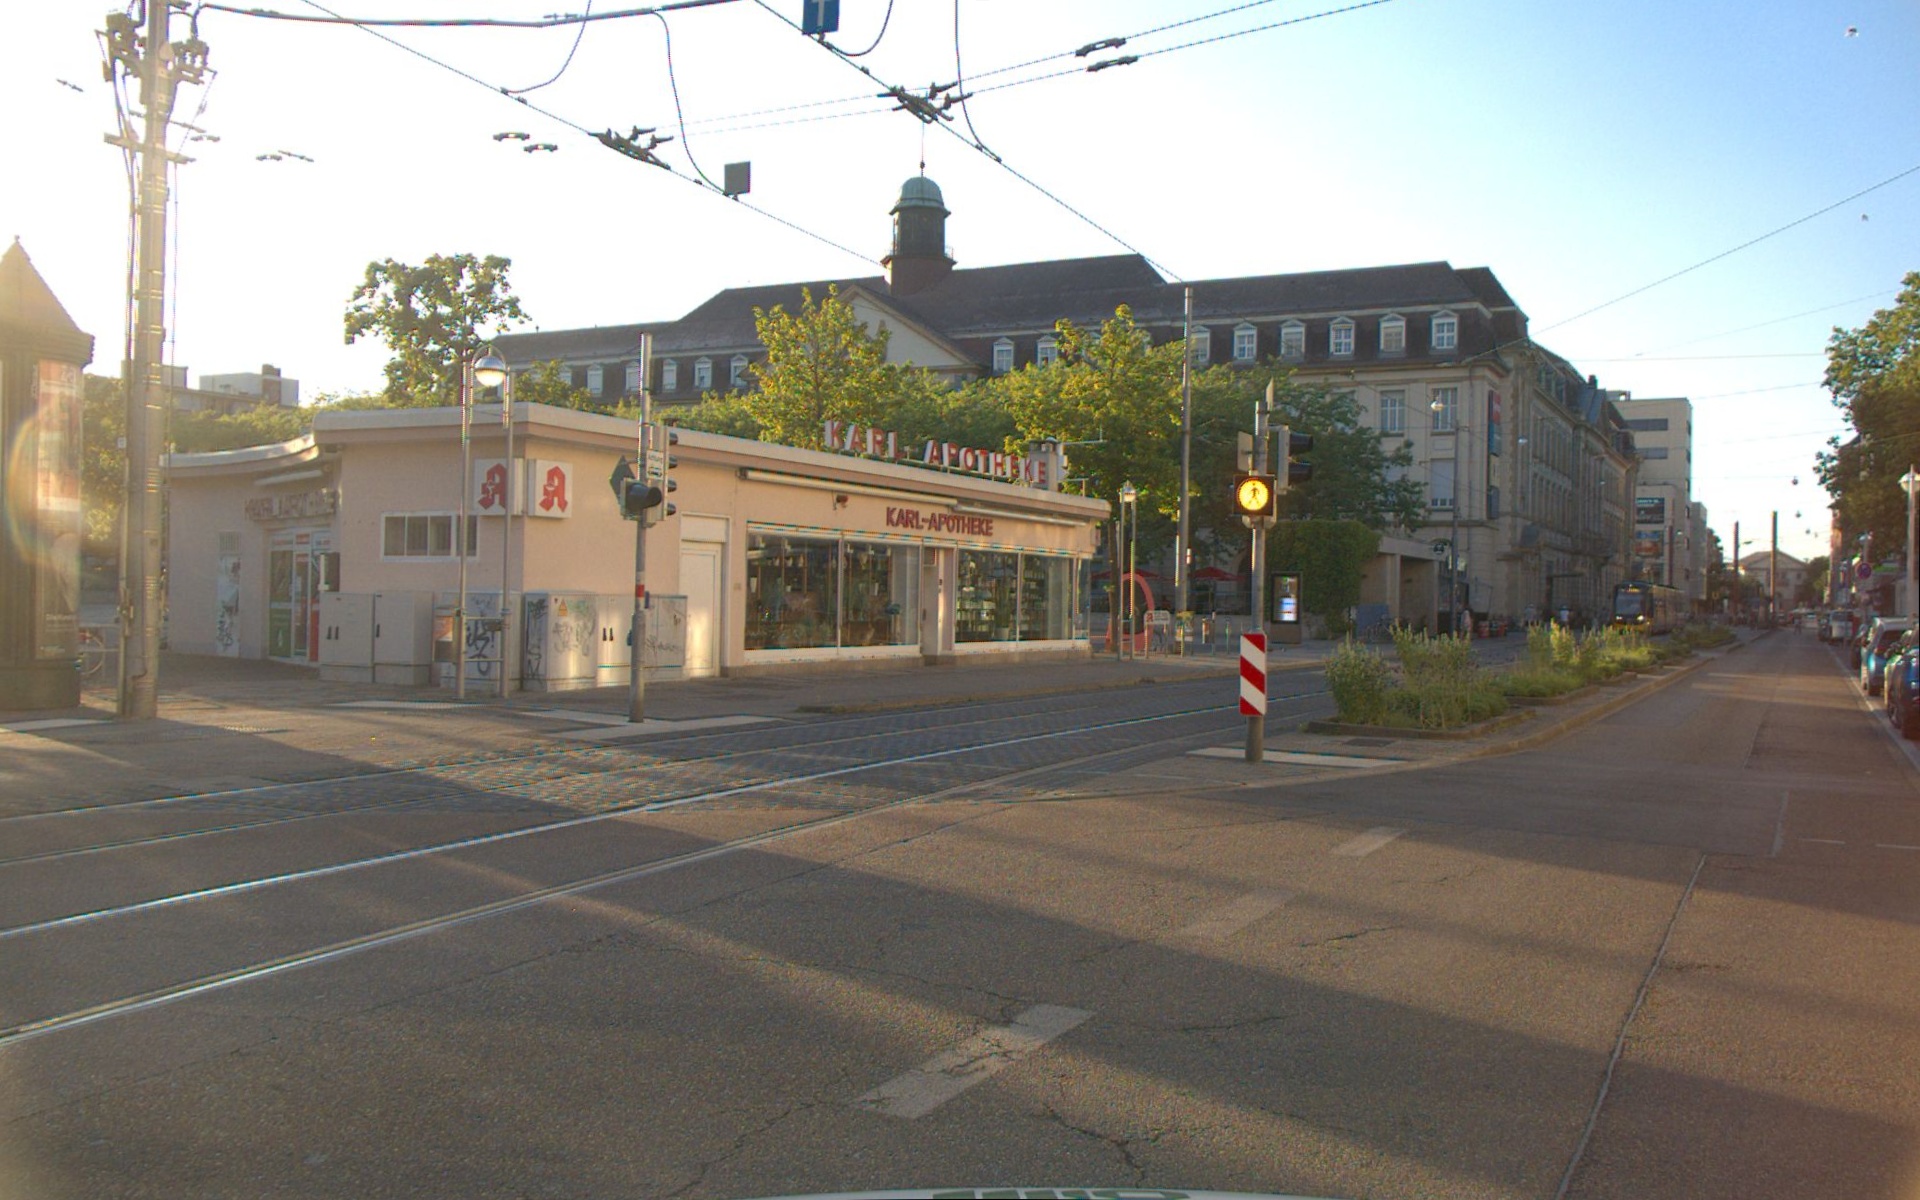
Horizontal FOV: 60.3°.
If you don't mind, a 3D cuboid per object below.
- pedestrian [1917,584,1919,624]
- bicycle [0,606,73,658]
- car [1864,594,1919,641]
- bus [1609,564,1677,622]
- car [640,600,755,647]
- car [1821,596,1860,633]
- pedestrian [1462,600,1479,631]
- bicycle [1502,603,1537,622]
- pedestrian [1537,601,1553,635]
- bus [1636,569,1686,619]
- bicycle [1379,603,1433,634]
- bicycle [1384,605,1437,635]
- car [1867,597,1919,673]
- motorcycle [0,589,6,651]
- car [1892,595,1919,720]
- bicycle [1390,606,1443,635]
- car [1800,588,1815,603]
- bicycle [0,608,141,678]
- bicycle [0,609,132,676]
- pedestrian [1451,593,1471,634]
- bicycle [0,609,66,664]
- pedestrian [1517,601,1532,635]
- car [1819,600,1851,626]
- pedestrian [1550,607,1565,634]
[{"bbox_3d":[42.643,0.189,72.996,0.666,1.747,0.653,1,-2,30],"label":"pedestrian"},{"bbox_3d":[-18.231,0.612,31.833,2.017,0.994,0.554,1,-1,-31],"label":"bicycle"},{"bbox_3d":[30.319,0.564,53.520,1.623,1.404,4.336,-3,-2,26],"label":"car"},{"bbox_3d":[47.469,-0.443,114.561,2.768,3.715,17.048,1,0,28],"label":"bus"},{"bbox_3d":[-9.683,0.902,61.413,1.764,1.593,4.673,1,-2,28],"label":"car"},{"bbox_3d":[49.748,0.793,93.466,1.878,2.016,4.415,1,0,28],"label":"car"},{"bbox_3d":[28.524,0.859,92.423,0.699,1.674,0.660,2,0,6],"label":"pedestrian"},{"bbox_3d":[36.136,0.785,106.853,2.055,1.168,0.574,1,-2,24],"label":"bicycle"},{"bbox_3d":[33.151,1.022,93.733,0.719,1.873,0.713,1,-1,28],"label":"pedestrian"},{"bbox_3d":[53.368,-0.466,125.748,2.768,3.688,8.278,1,1,28],"label":"bus"},{"bbox_3d":[19.449,0.807,72.140,2.155,1.323,0.579,1,-2,28],"label":"bicycle"},{"bbox_3d":[20.043,0.889,73.551,2.199,1.277,0.579,1,-2,28],"label":"bicycle"},{"bbox_3d":[21.080,0.742,36.391,1.774,1.579,4.831,1,0,27],"label":"car"},{"bbox_3d":[-20.047,0.387,32.505,2.214,1.222,0.712,1,0,-33],"label":"motorcycle"},{"bbox_3d":[14.170,0.768,23.197,1.731,1.633,4.282,1,0,27],"label":"car"},{"bbox_3d":[20.713,0.927,75.046,2.199,1.253,0.584,1,-1,28],"label":"bicycle"},{"bbox_3d":[111.765,-0.618,218.111,1.727,1.859,3.565,1,-2,28],"label":"car"},{"bbox_3d":[-14.050,0.666,26.079,1.999,1.062,0.554,1,-1,-31],"label":"bicycle"},{"bbox_3d":[-14.727,0.679,26.999,2.124,1.062,0.554,1,-1,-31],"label":"bicycle"},{"bbox_3d":[24.403,0.677,80.533,0.711,1.968,0.790,0,-2,31],"label":"pedestrian"},{"bbox_3d":[-17.662,0.672,30.480,2.056,0.999,0.554,1,-1,-31],"label":"bicycle"},{"bbox_3d":[32.045,1.017,93.836,0.679,1.880,0.661,1,-2,28],"label":"pedestrian"},{"bbox_3d":[61.163,0.927,115.649,1.955,1.791,4.415,1,0,28],"label":"car"},{"bbox_3d":[38.375,1.317,106.253,0.799,1.737,0.760,1,-2,28],"label":"pedestrian"}]
